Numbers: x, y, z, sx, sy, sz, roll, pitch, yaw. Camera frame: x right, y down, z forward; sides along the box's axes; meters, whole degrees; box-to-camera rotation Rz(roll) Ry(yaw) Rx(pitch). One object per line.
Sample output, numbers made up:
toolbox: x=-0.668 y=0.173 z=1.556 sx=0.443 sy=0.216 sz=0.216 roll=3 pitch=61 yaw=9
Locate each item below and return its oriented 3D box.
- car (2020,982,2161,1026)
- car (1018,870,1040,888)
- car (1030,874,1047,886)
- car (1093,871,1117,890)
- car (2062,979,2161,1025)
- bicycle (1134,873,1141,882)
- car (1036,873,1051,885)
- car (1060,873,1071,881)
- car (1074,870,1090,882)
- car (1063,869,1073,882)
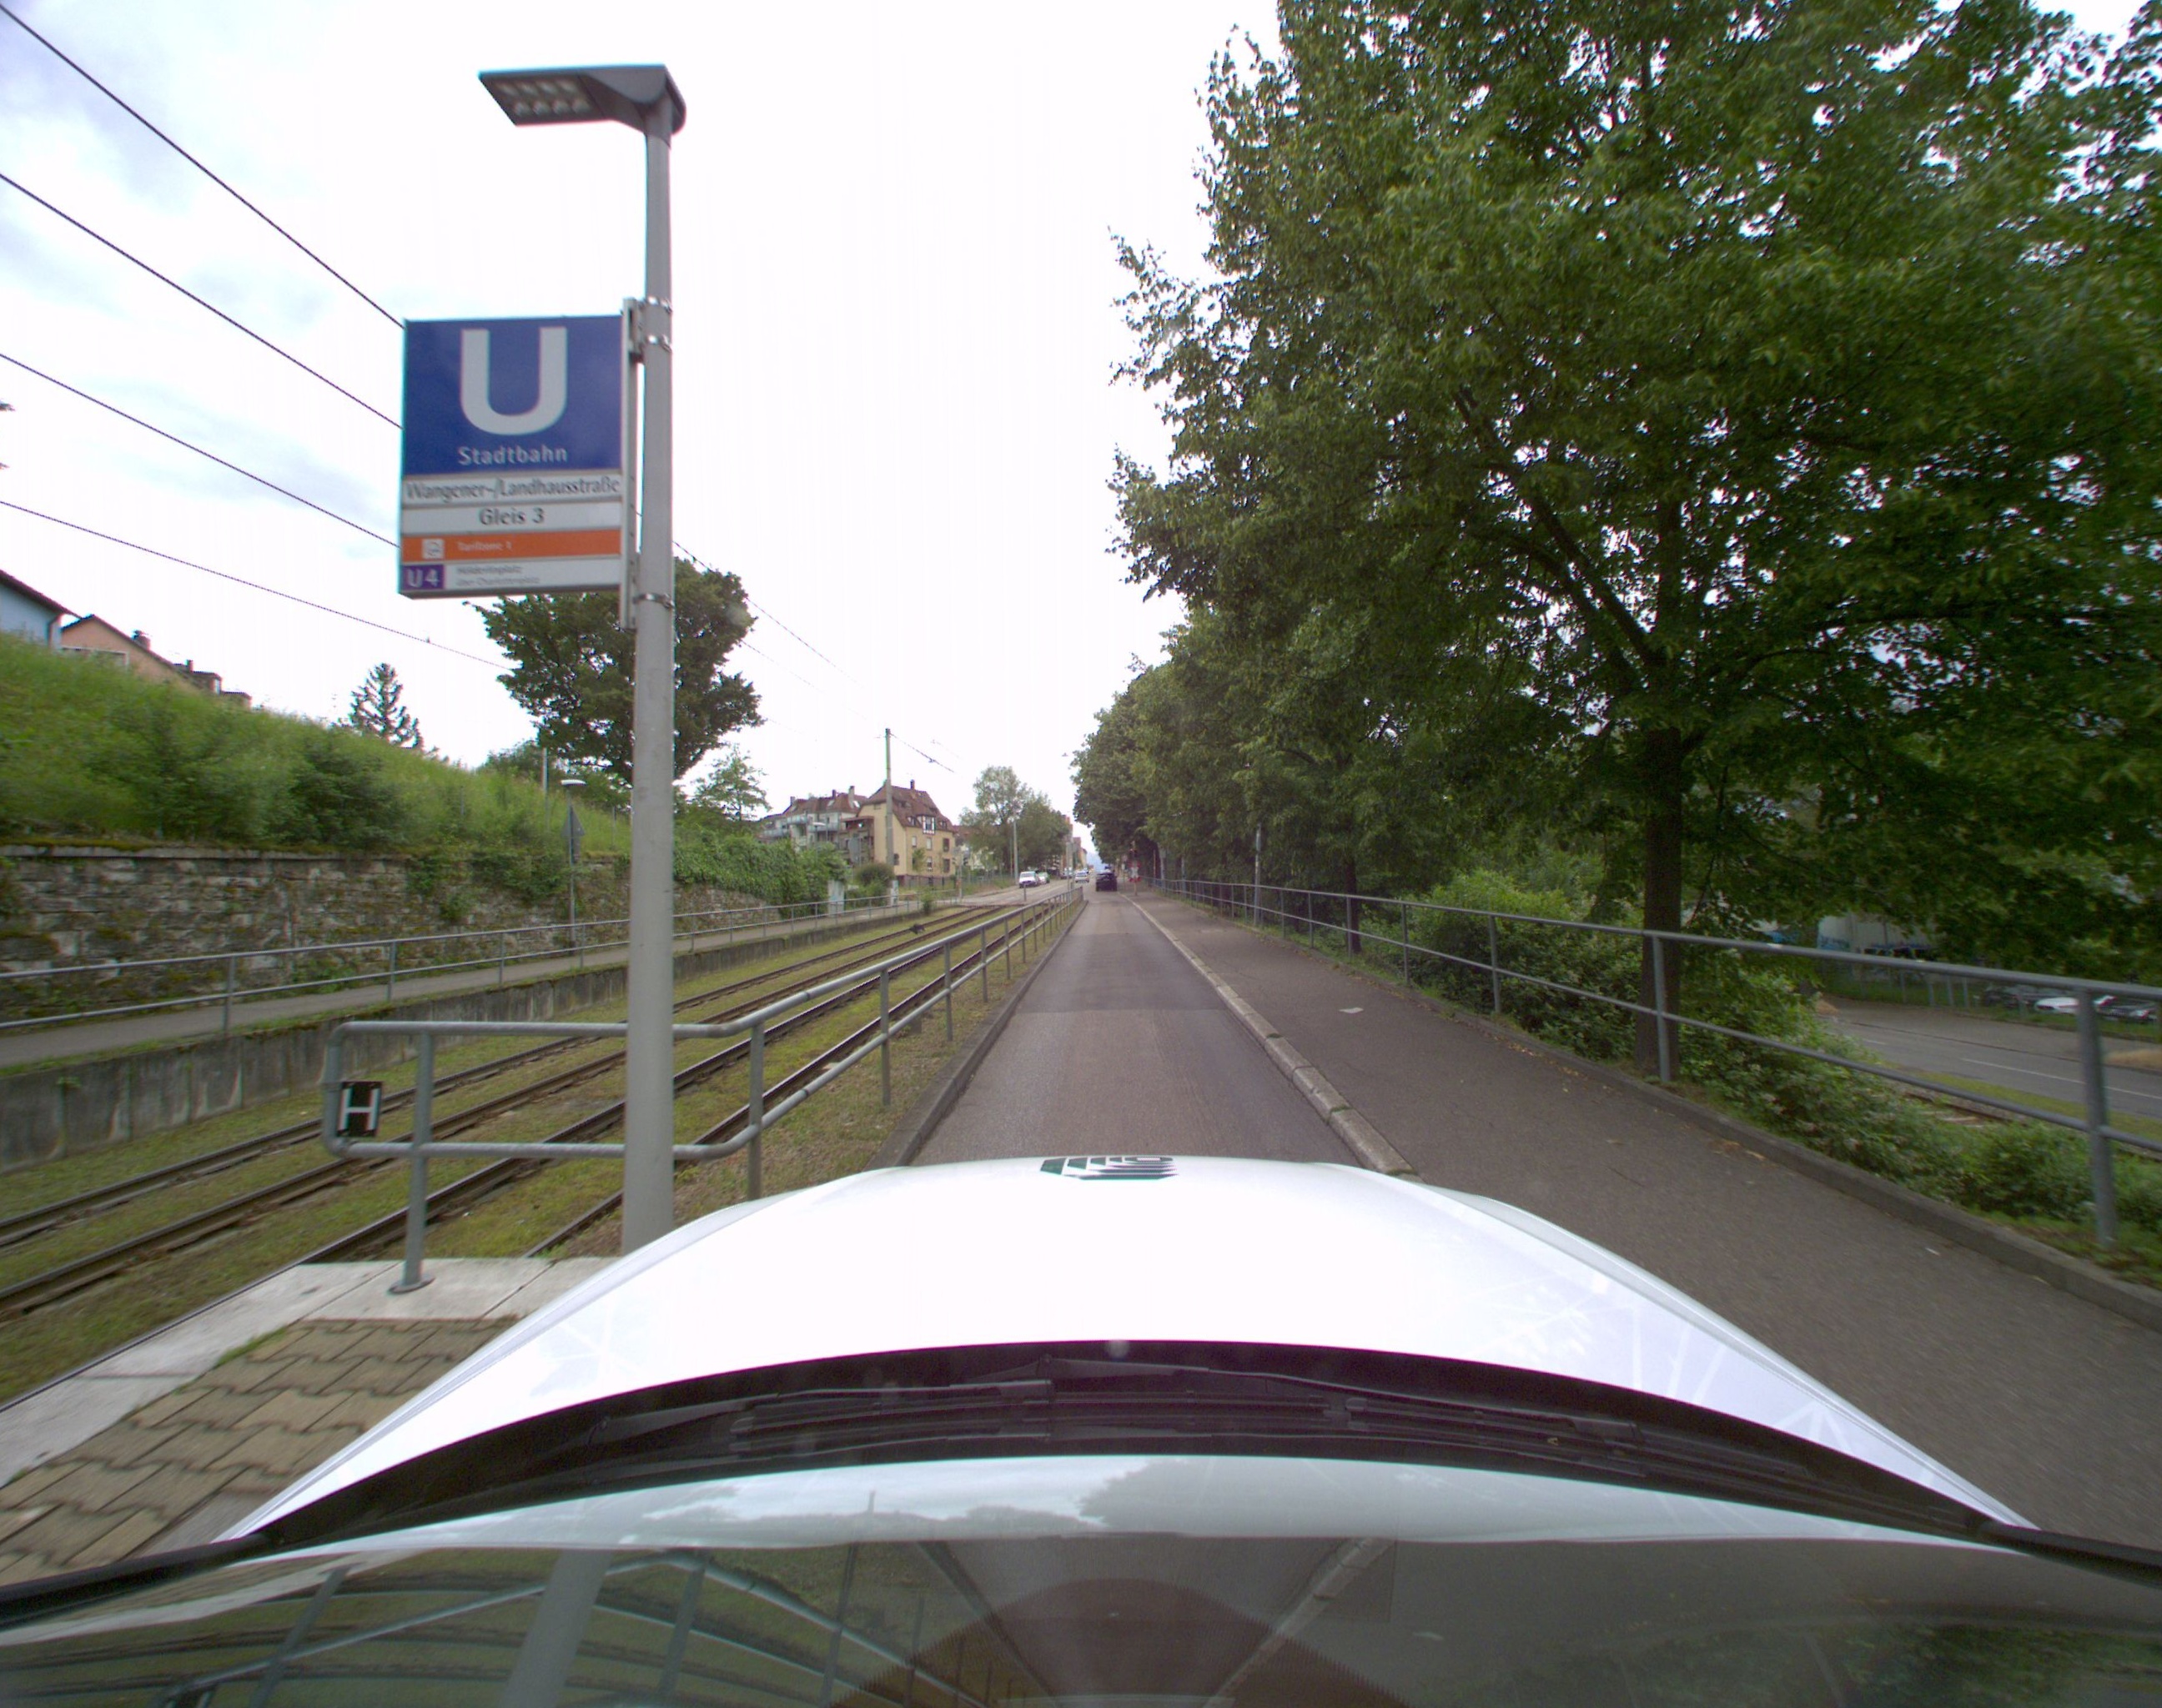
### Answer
car: x=41.923 y=6.137 z=33.351 sx=4.302 sy=1.506 sz=1.831 roll=-2 pitch=-2 yaw=9
car: x=-6.109 y=2.931 z=95.897 sx=2.029 sy=1.881 sz=4.884 roll=-4 pitch=-2 yaw=1
car: x=-5.699 y=3.544 z=110.175 sx=1.878 sy=1.526 sz=4.665 roll=-3 pitch=-2 yaw=2
car: x=2.111 y=2.255 z=69.822 sx=1.896 sy=1.615 sz=4.603 roll=-1 pitch=-1 yaw=3
car: x=41.472 y=5.673 z=31.421 sx=4.302 sy=1.468 sz=2.005 roll=-2 pitch=-2 yaw=9
bicycle: x=6.206 y=2.607 z=89.331 sx=0.427 sy=0.976 sz=1.790 roll=-1 pitch=-2 yaw=-8
car: x=-5.368 y=3.595 z=115.967 sx=1.716 sy=1.580 sz=4.182 roll=-3 pitch=-1 yaw=2
car: x=-3.414 y=5.025 z=176.403 sx=1.985 sy=1.808 sz=4.003 roll=-1 pitch=-2 yaw=3
car: x=0.147 y=2.955 z=107.719 sx=1.986 sy=1.499 sz=4.313 roll=-1 pitch=-2 yaw=2
car: x=-2.981 y=5.053 z=190.899 sx=2.223 sy=2.765 sz=5.797 roll=-1 pitch=-2 yaw=0
